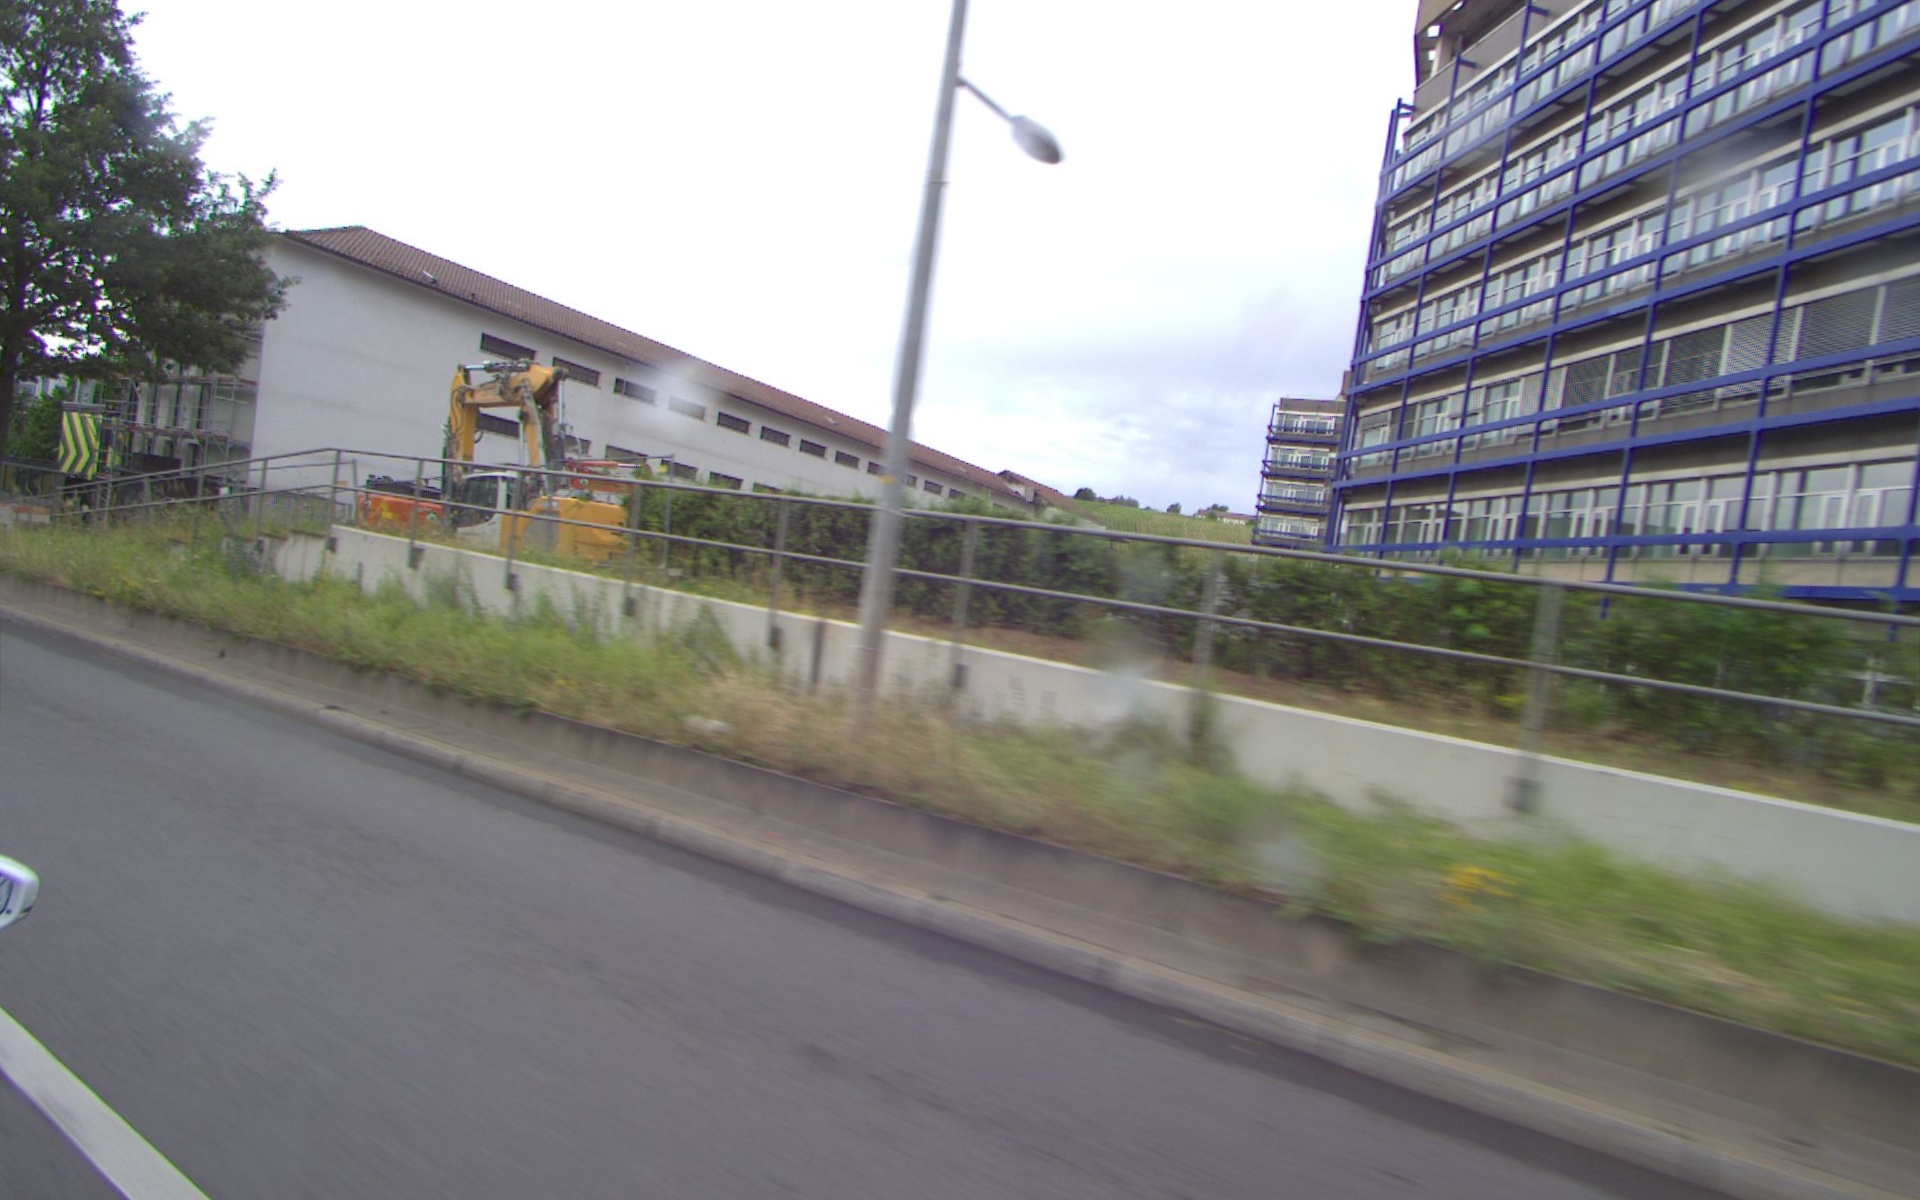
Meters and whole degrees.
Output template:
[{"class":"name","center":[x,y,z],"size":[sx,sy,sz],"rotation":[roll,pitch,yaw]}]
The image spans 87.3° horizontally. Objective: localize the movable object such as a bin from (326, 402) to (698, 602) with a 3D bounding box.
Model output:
[{"class":"movable object such as a bin","center":[-15.583,-3.112,36.752],"size":[3.726,5.326,12.156],"rotation":[6,0,31]}]

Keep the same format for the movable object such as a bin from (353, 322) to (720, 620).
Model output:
[{"class":"movable object such as a bin","center":[-10.276,-2.932,24.007],"size":[8.623,5.750,3.295],"rotation":[6,-2,34]}]
